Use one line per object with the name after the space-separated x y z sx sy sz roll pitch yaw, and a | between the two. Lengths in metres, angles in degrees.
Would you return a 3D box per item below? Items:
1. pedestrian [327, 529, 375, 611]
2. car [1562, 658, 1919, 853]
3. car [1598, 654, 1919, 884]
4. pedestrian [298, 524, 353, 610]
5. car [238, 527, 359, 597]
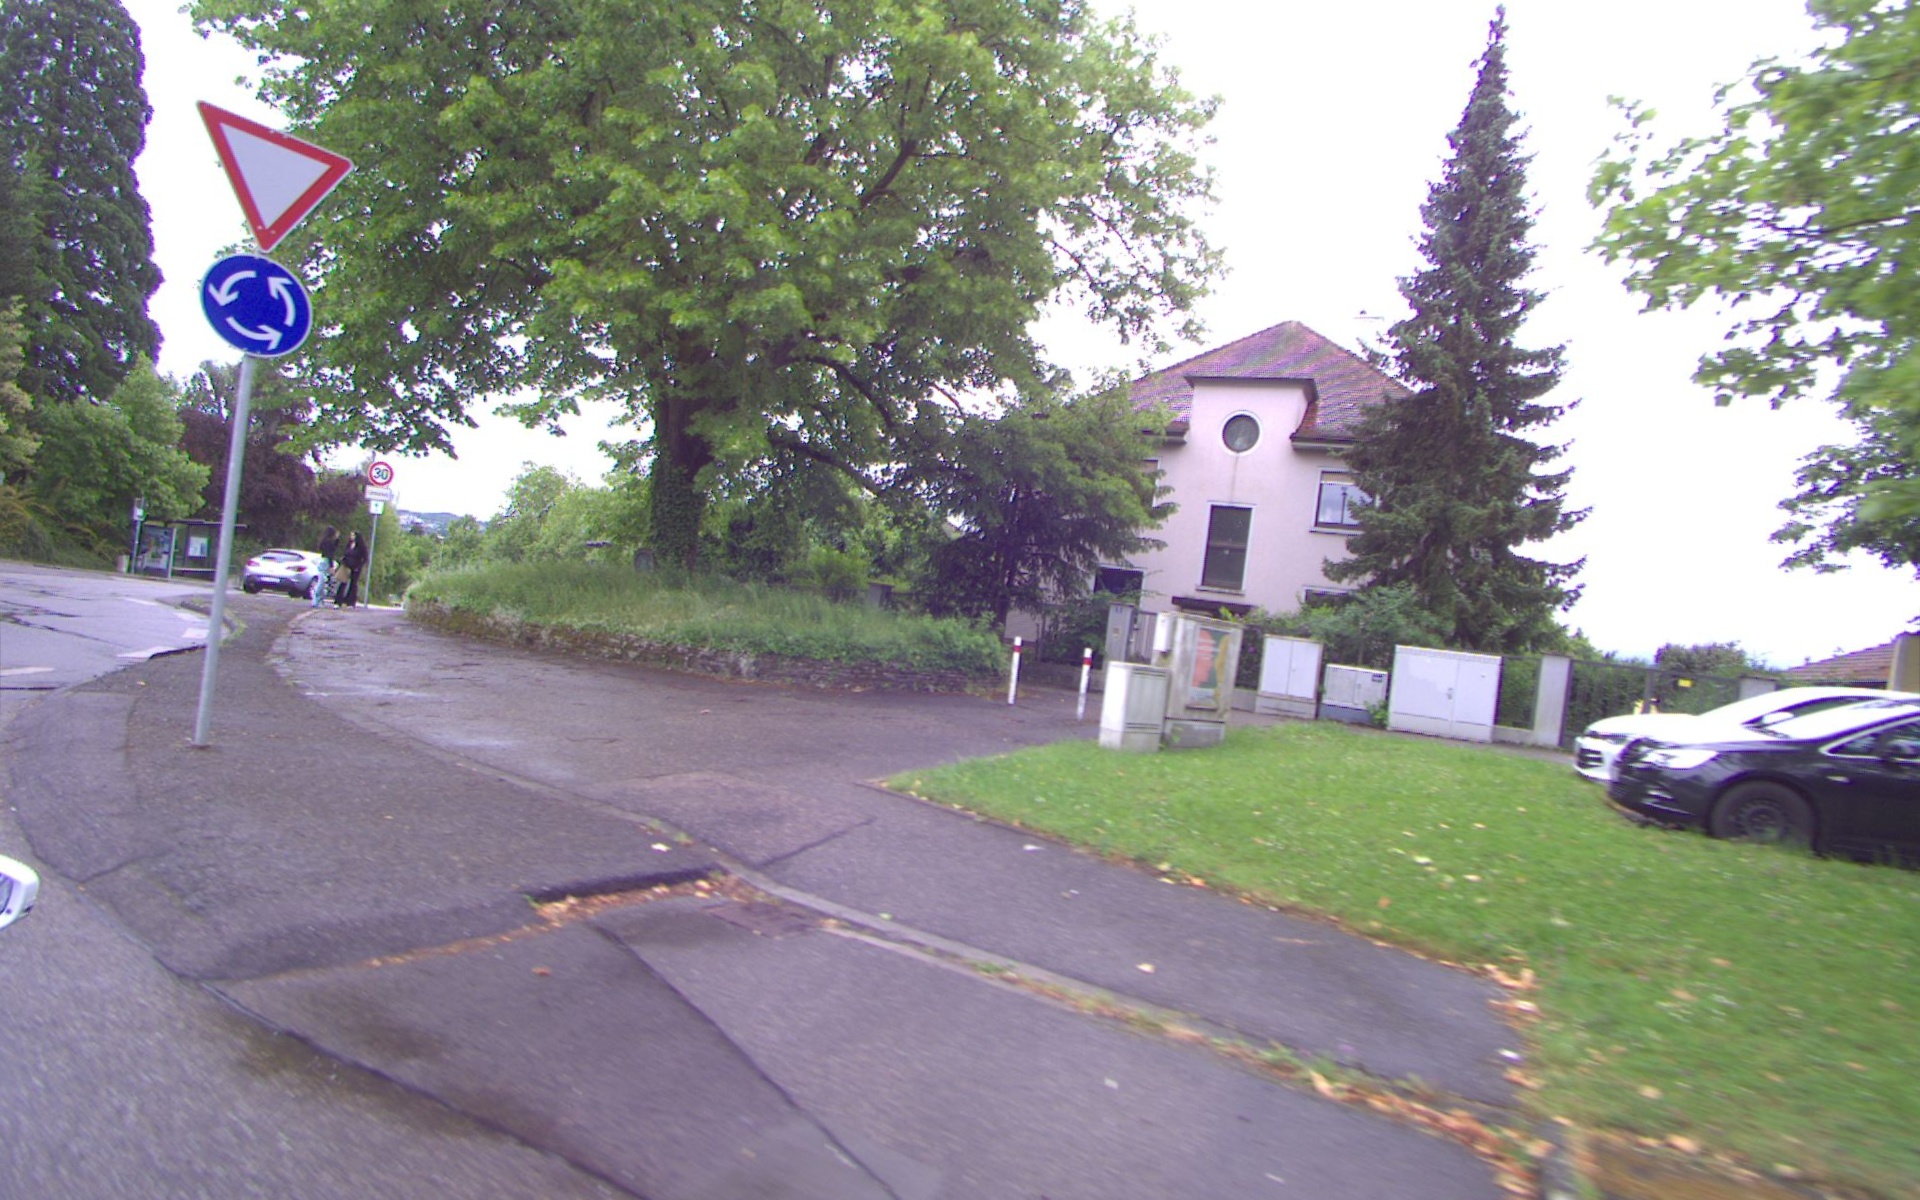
-13.627 -0.667 22.509 0.632 1.733 0.523 8 -2 -45 | pedestrian
8.885 1.593 10.353 4.348 1.489 1.849 6 0 27 | car
7.948 1.444 8.063 4.518 1.490 1.767 6 1 28 | car
-13.603 -0.692 21.563 0.624 1.733 0.530 7 -1 15 | pedestrian
-20.273 -1.124 31.046 1.743 1.824 4.233 6 0 -15 | car
